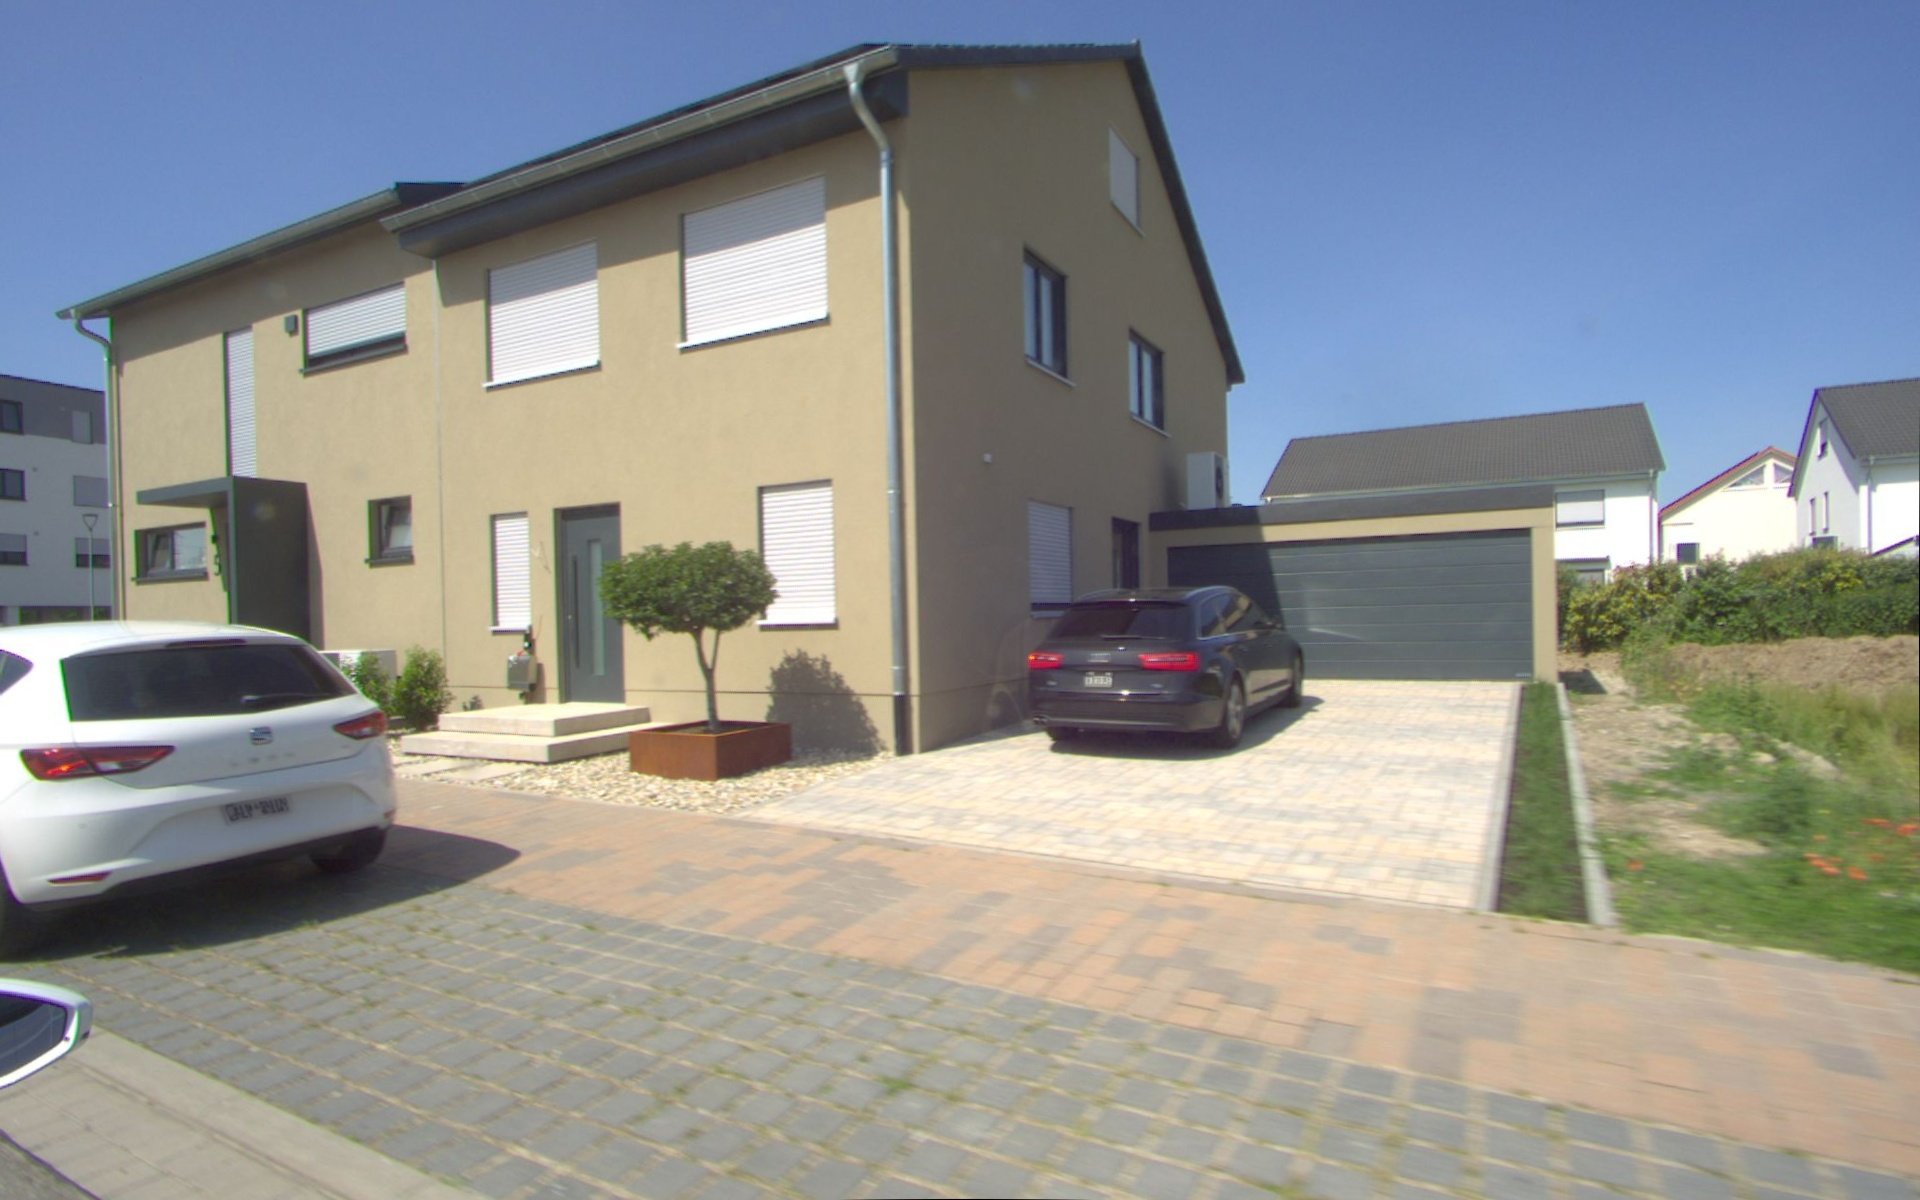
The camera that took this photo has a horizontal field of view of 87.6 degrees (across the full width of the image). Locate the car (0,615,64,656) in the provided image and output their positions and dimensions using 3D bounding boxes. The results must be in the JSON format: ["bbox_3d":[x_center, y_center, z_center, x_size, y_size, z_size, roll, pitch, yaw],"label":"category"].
[{"bbox_3d":[-35.890,1.343,36.699,1.851,1.454,4.160,-2,-1,22],"label":"car"}]

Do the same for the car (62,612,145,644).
[{"bbox_3d":[-44.607,1.446,52.177,3.618,1.522,1.877,-2,0,24],"label":"car"}]

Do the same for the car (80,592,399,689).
[{"bbox_3d":[-14.016,0.717,19.866,1.968,1.666,4.744,-2,0,25],"label":"car"}]

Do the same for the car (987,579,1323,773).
[{"bbox_3d":[2.322,0.569,10.510,1.970,1.445,4.878,0,2,30],"label":"car"}]

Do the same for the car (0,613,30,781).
[{"bbox_3d":[-10.564,0.859,9.025,4.443,1.445,1.778,0,1,27],"label":"car"}]

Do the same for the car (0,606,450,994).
[{"bbox_3d":[-5.222,0.824,5.801,4.495,1.475,1.812,-1,1,29],"label":"car"}]
